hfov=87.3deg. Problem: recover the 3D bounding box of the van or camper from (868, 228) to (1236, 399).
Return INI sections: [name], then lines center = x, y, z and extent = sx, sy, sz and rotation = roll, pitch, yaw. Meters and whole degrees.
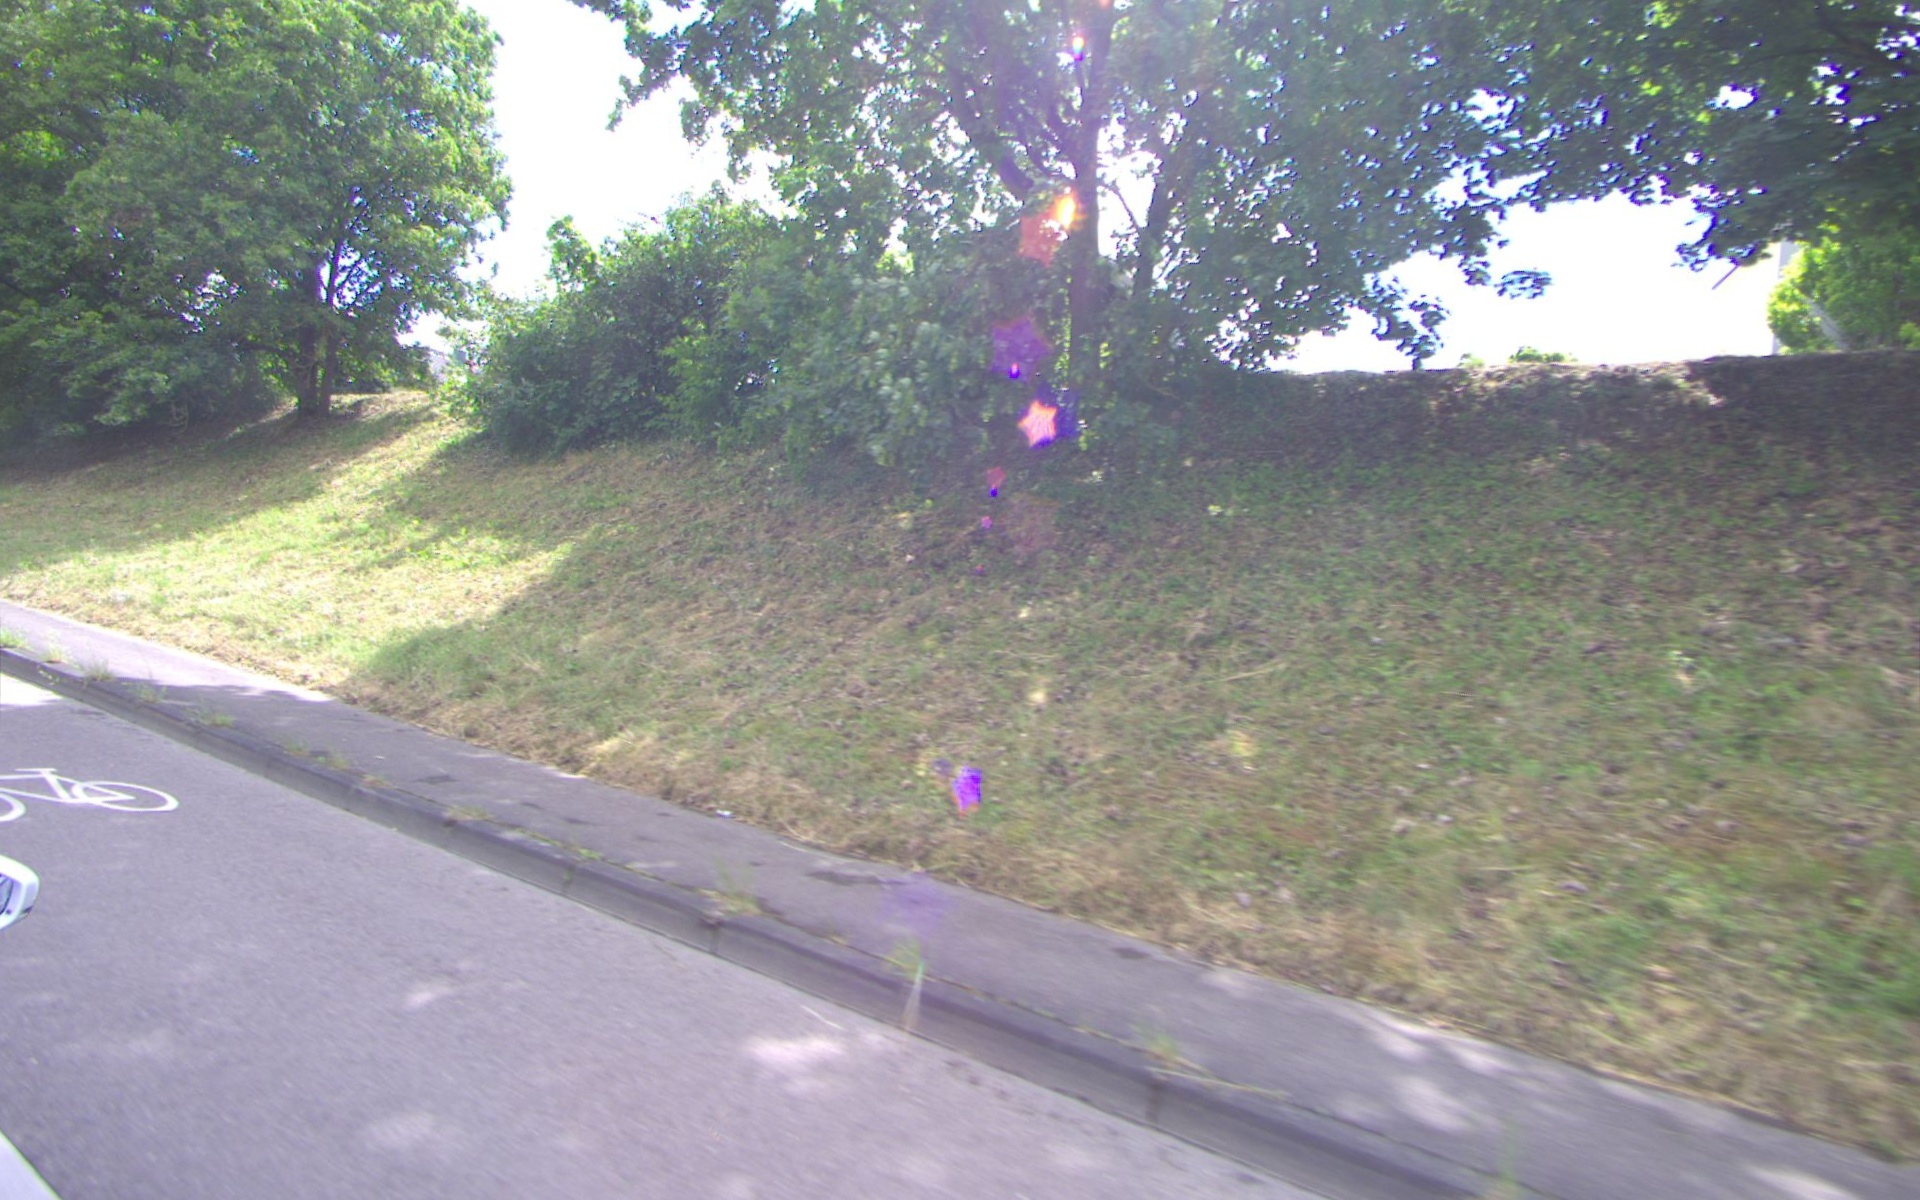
[van or camper]
center = 1.570, -4.989, 18.167
extent = 6.056, 2.094, 2.222
rotation = 7, -1, 29
